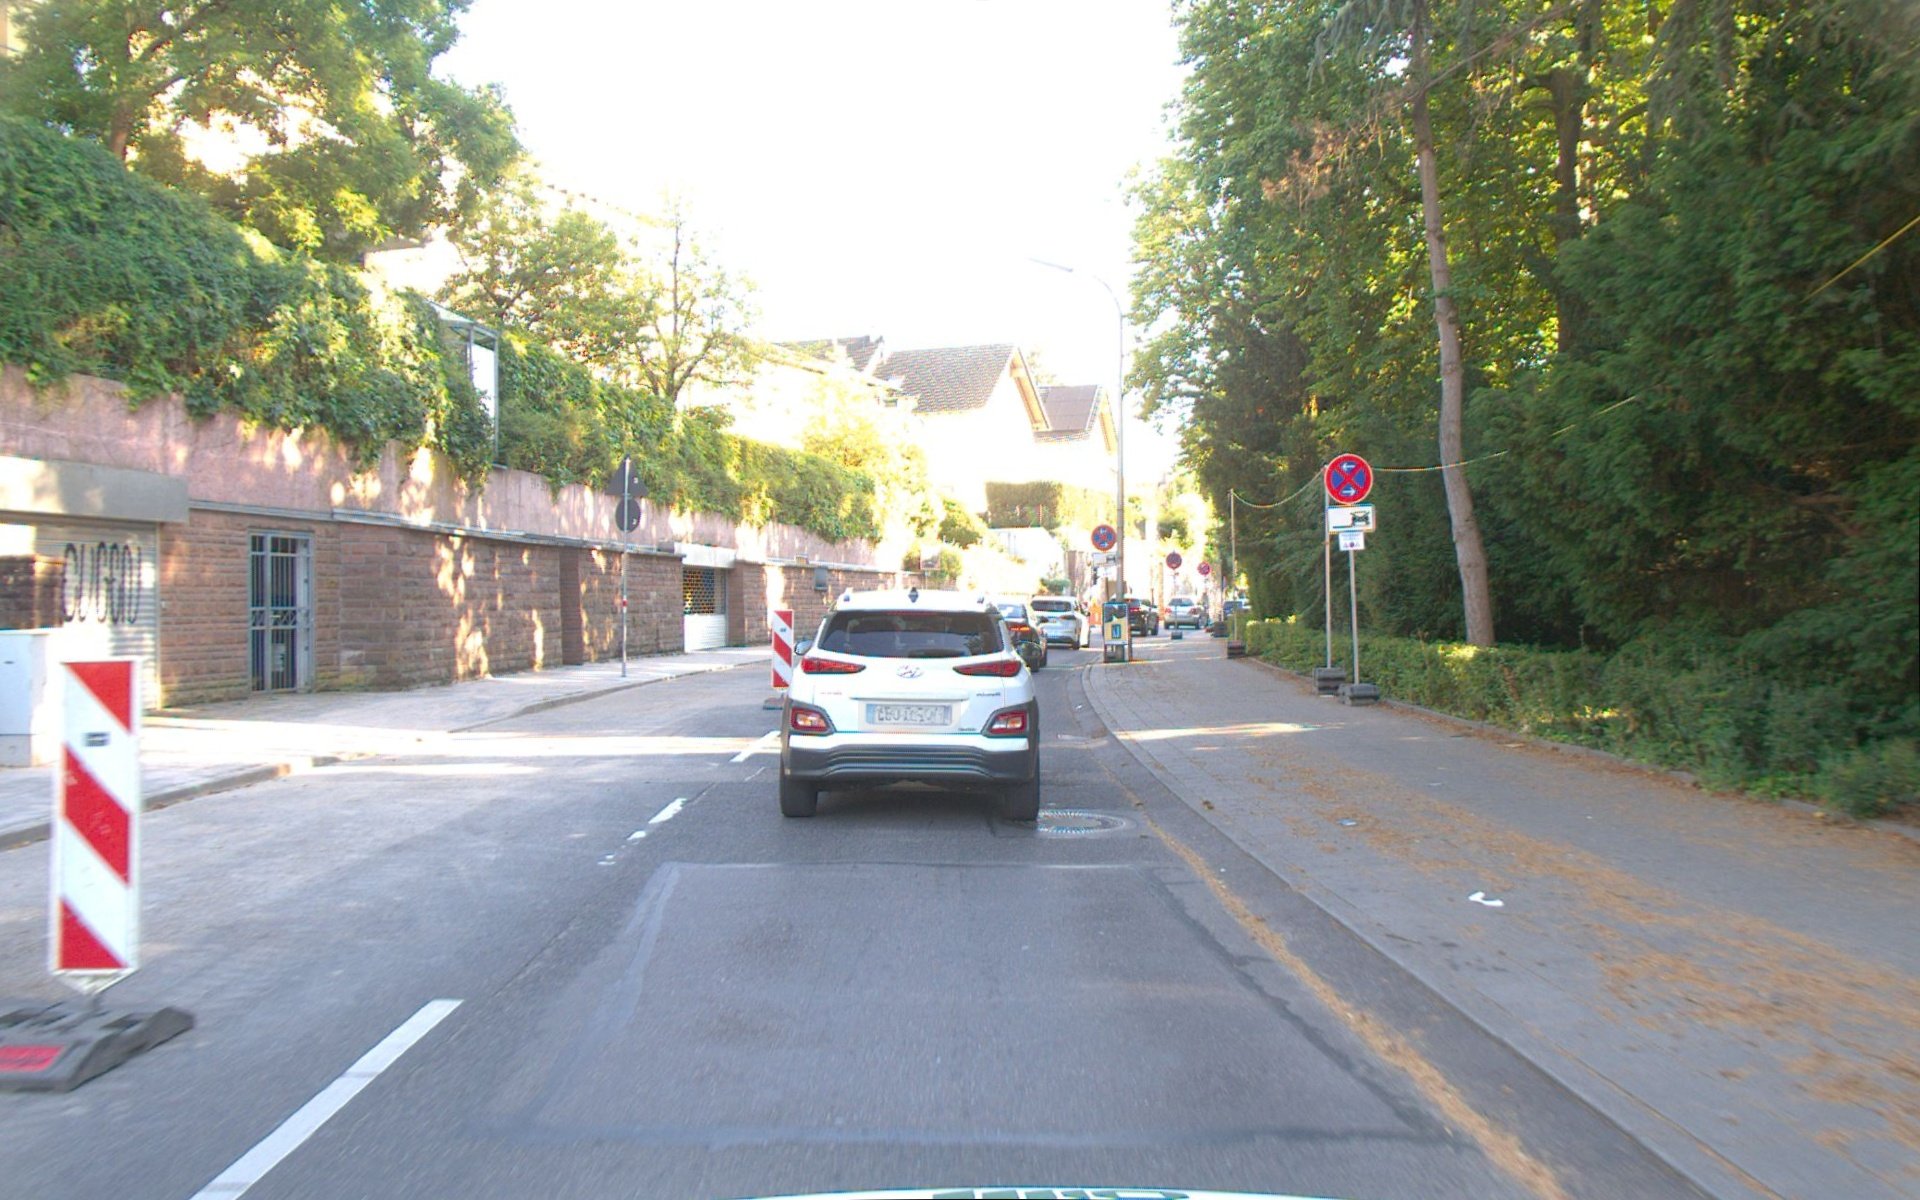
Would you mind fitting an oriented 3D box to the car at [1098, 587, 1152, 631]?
[{"bbox_3d":[6.691,0.337,66.597,1.658,1.559,3.885,-4,0,12],"label":"car"}]

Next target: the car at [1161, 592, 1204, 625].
[{"bbox_3d":[10.937,0.403,81.176,1.657,1.472,3.885,-3,0,13],"label":"car"}]

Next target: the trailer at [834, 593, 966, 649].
[{"bbox_3d":[-1.668,0.580,49.453,2.583,1.515,7.124,1,0,9],"label":"trailer"}]

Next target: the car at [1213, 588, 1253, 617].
[{"bbox_3d":[15.956,0.128,96.434,1.658,1.530,3.632,-3,0,19],"label":"car"}]

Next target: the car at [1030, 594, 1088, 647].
[{"bbox_3d":[2.986,0.585,49.626,1.537,1.503,3.550,1,0,6],"label":"car"}]

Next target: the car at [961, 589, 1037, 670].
[{"bbox_3d":[0.764,0.580,34.352,1.481,1.560,3.547,-1,0,0],"label":"car"}]

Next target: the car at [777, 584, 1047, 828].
[{"bbox_3d":[-0.345,0.676,12.642,1.736,1.569,3.999,0,0,-1],"label":"car"}]
